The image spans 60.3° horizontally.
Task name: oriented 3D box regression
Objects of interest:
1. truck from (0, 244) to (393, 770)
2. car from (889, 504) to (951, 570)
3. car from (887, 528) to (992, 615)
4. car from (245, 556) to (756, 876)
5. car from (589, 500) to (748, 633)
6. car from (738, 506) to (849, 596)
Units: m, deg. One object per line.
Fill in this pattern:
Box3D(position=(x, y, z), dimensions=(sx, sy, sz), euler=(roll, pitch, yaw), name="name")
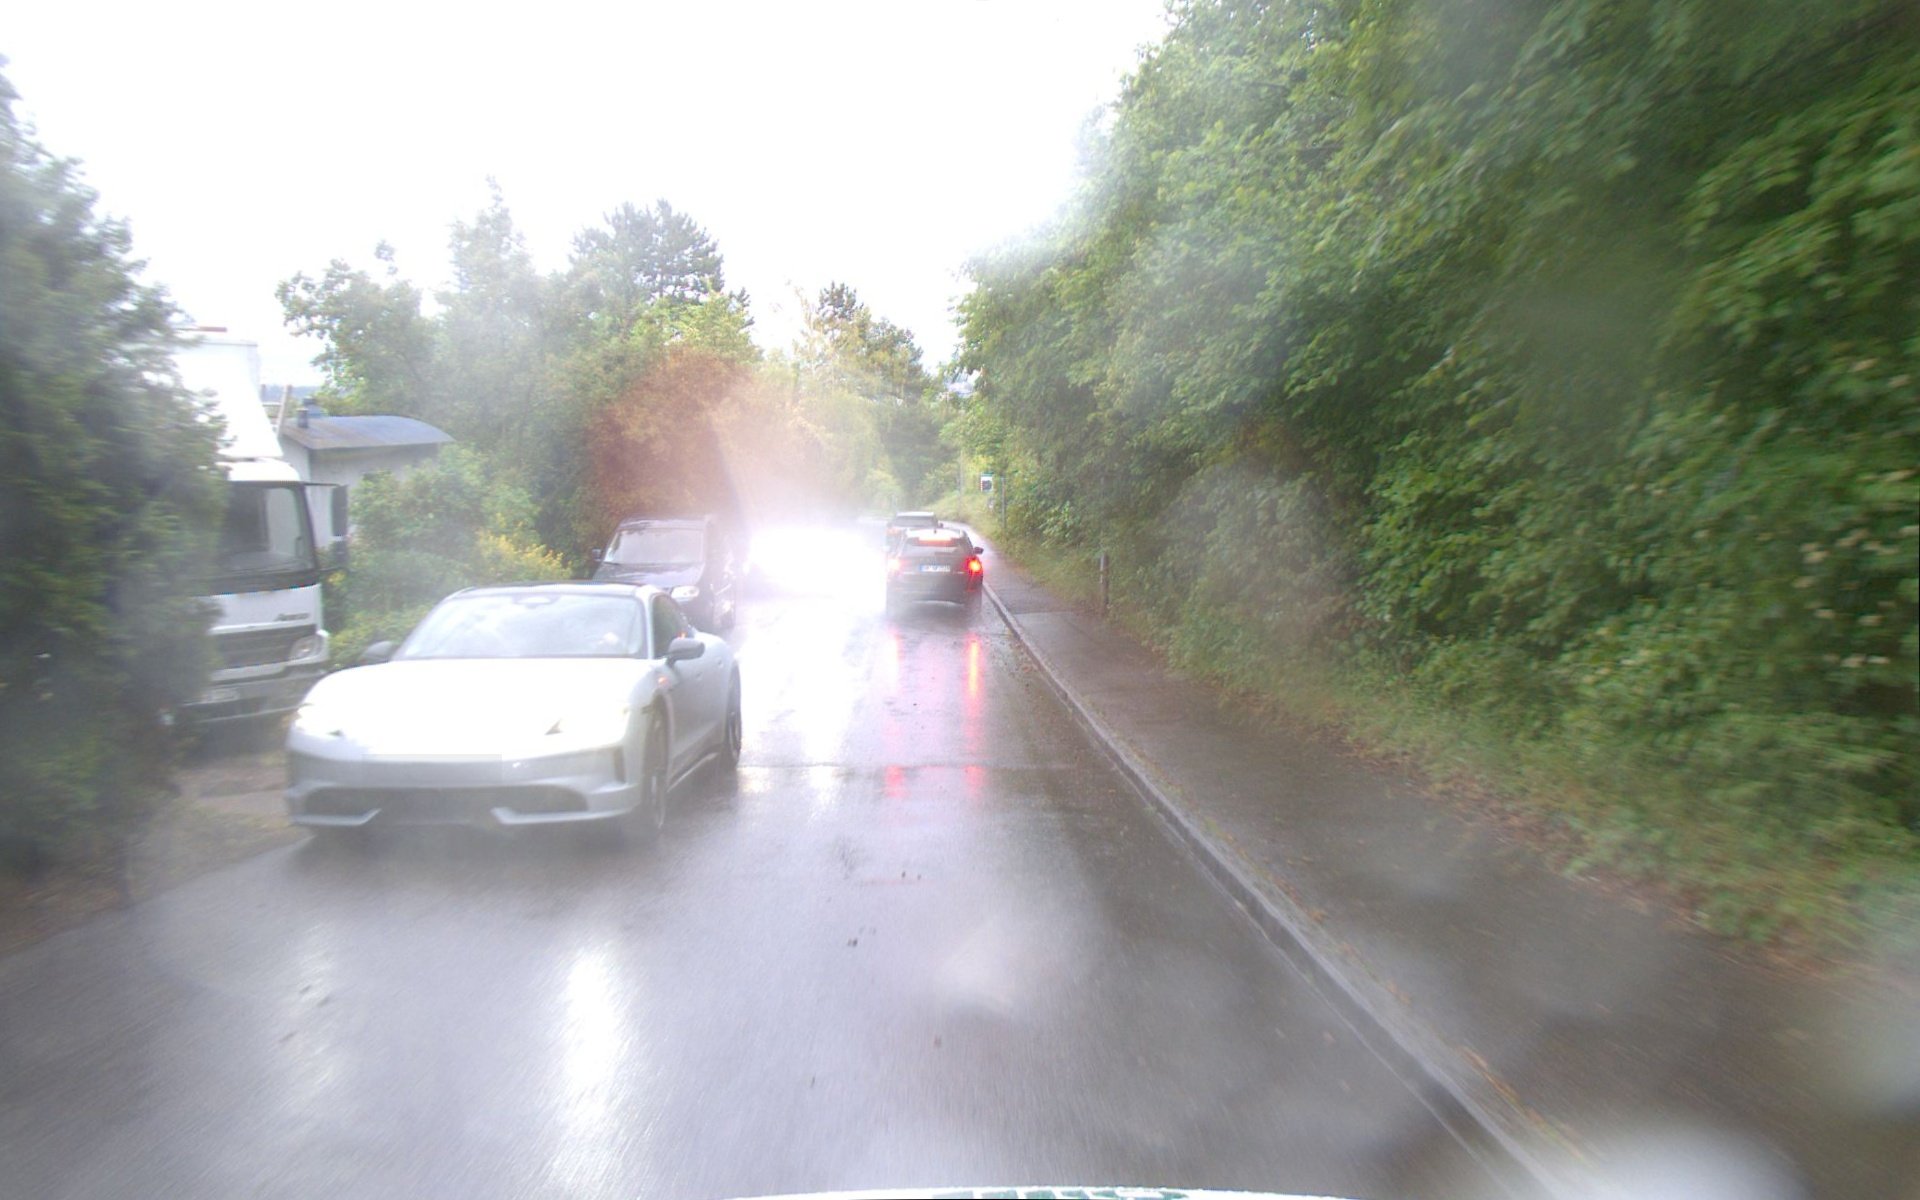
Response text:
Box3D(position=(-8.658, -1.048, 15.956), dimensions=(2.654, 3.874, 8.004), euler=(2, 4, -45), name="truck")
Box3D(position=(-1.295, -1.922, 51.633), dimensions=(1.825, 1.774, 3.997), euler=(1, -1, -3), name="car")
Box3D(position=(-0.444, -0.578, 30.475), dimensions=(1.666, 1.475, 3.997), euler=(0, 3, -5), name="car")
Box3D(position=(-2.556, 0.627, 10.480), dimensions=(1.901, 1.549, 4.578), euler=(1, -1, 0), name="car")
Box3D(position=(-4.246, -0.575, 24.690), dimensions=(1.655, 1.813, 4.233), euler=(0, 3, -1), name="car")
Box3D(position=(-3.423, -1.089, 34.743), dimensions=(2.007, 1.628, 4.229), euler=(2, 4, -2), name="car")
